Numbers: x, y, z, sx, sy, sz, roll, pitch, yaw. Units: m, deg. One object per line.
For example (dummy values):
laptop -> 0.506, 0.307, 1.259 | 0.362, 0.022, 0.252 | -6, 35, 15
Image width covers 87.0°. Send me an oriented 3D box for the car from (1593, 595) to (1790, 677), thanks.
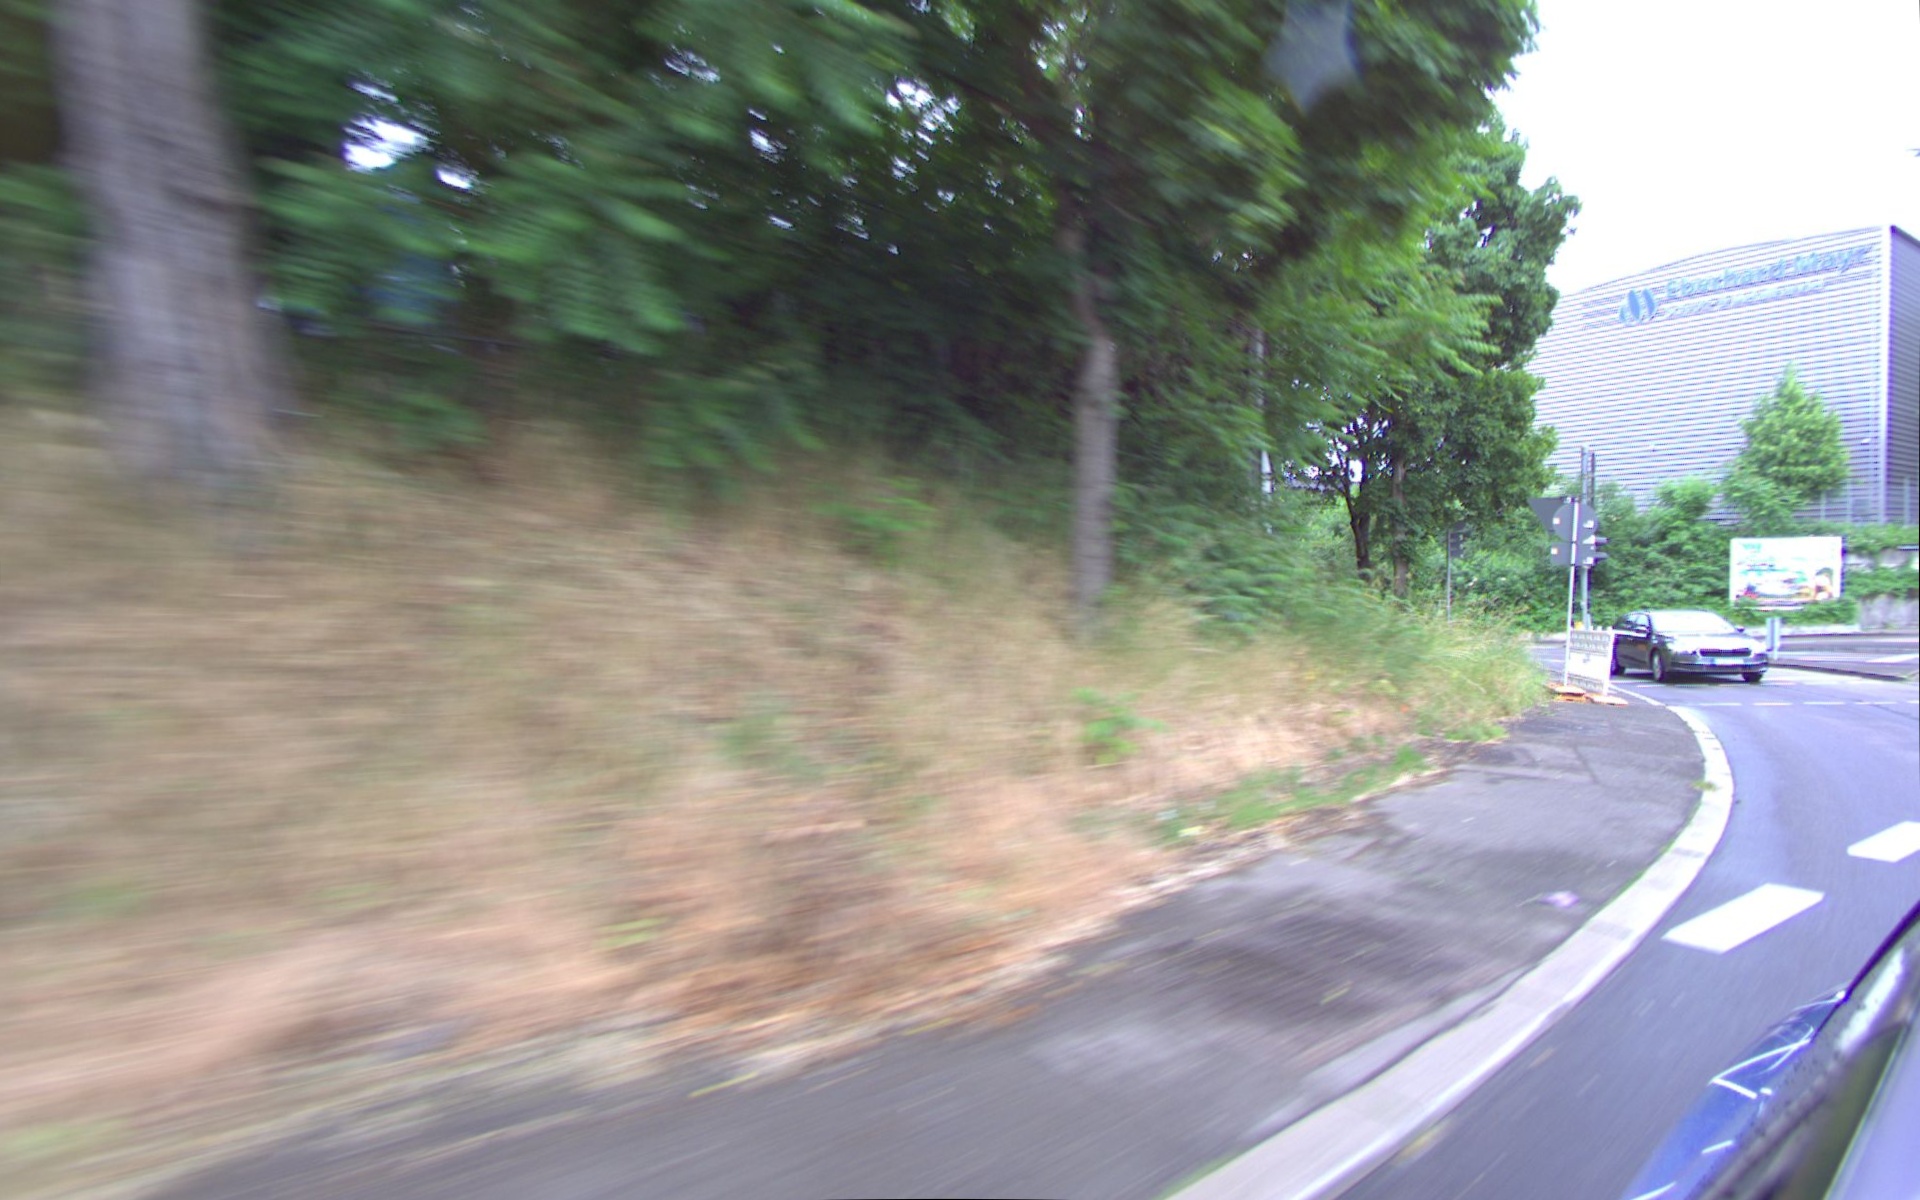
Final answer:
car -> 15.098, 0.729, 21.187 | 1.784, 1.537, 4.037 | -1, -2, 12
